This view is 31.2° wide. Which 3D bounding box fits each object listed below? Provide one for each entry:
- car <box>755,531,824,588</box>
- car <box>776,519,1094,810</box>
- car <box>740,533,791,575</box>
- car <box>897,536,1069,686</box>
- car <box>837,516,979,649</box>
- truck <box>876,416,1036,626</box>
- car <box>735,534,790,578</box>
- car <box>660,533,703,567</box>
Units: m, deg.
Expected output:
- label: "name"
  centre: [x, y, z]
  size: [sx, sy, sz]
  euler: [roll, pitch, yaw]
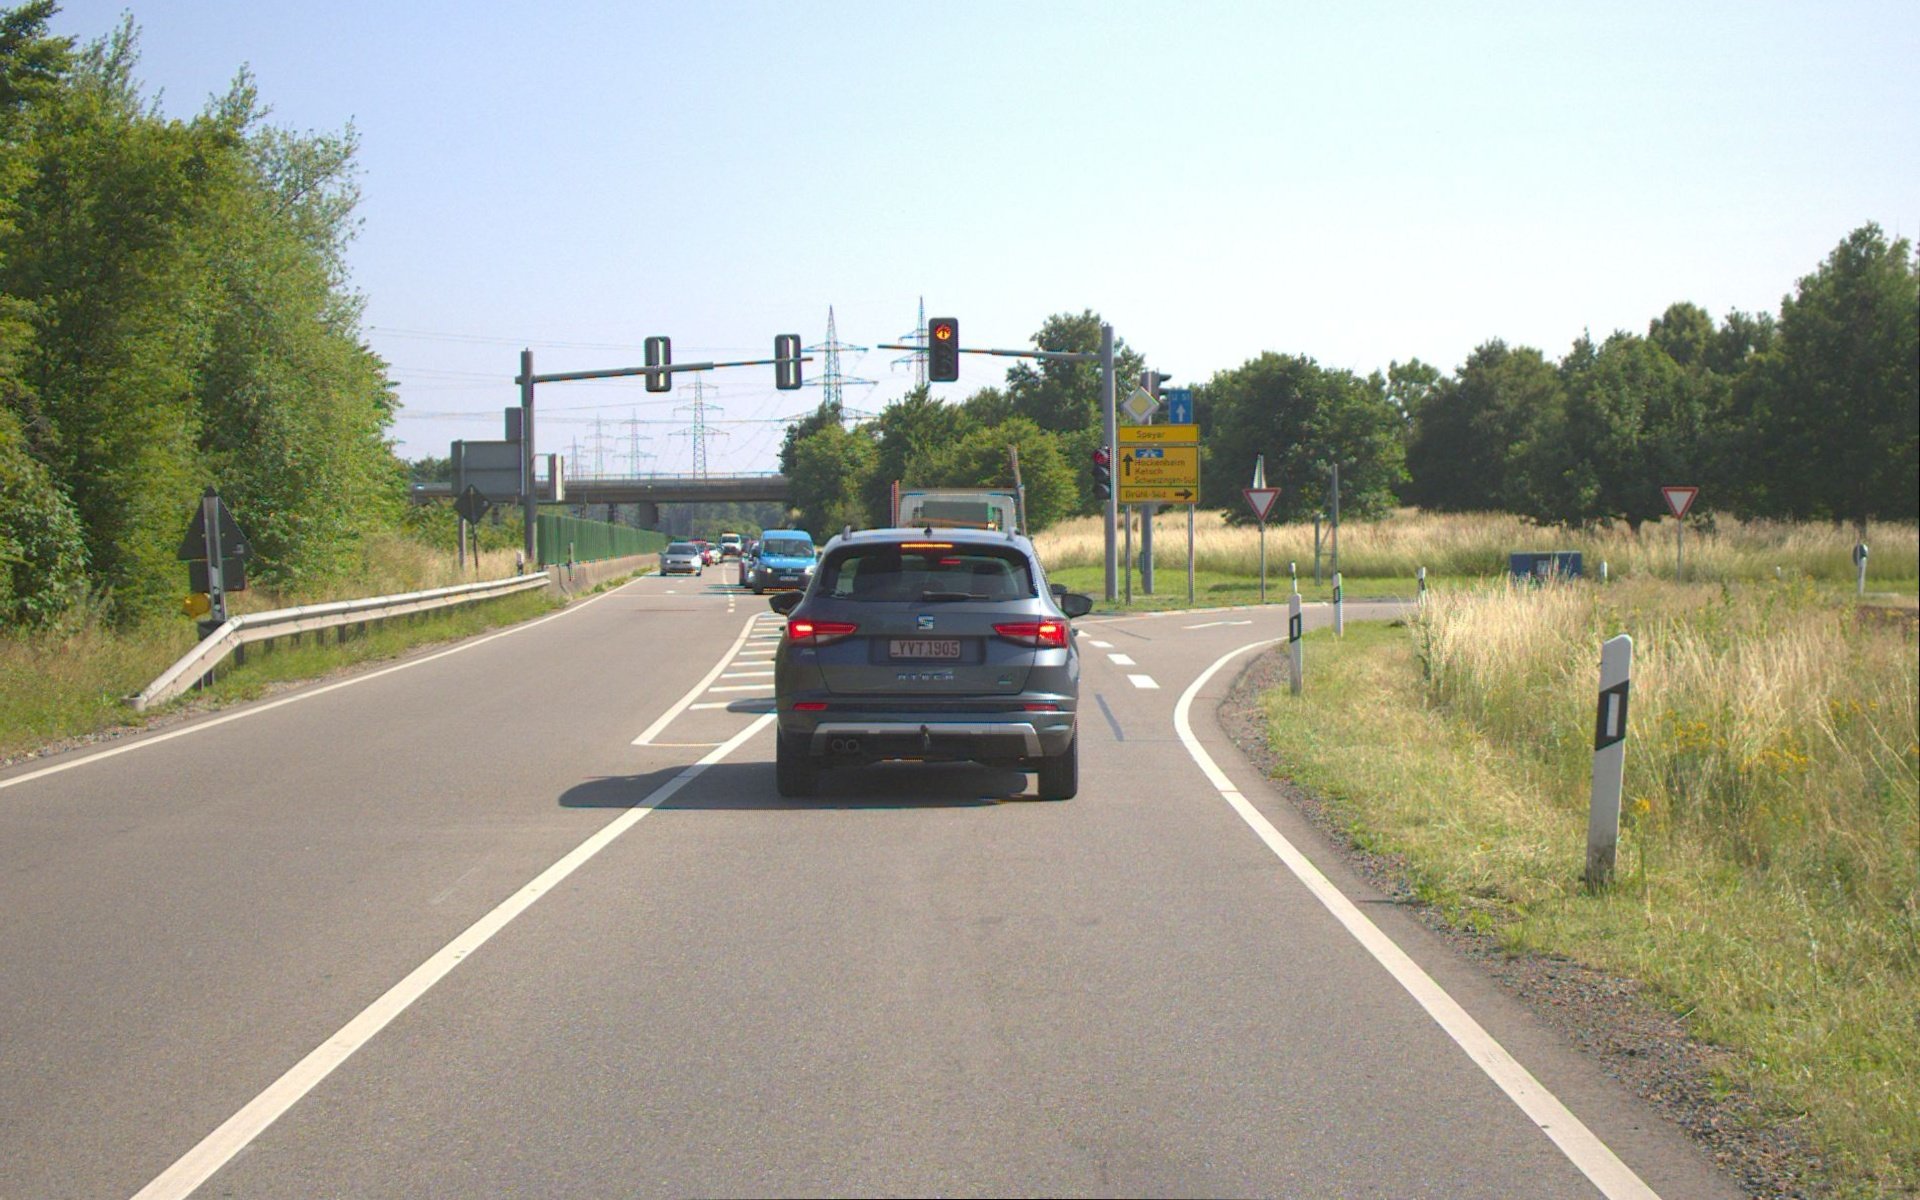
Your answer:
- label: "car"
  centre: [-4.837, -1.170, 97.196]
  size: [1.816, 1.535, 4.001]
  euler: [-1, 1, -5]
- label: "car"
  centre: [-0.181, 0.315, 21.397]
  size: [1.785, 1.623, 4.001]
  euler: [0, 1, -1]
- label: "car"
  centre: [-6.667, -1.578, 117.838]
  size: [1.684, 1.375, 3.534]
  euler: [0, 1, -4]
- label: "car"
  centre: [0.208, 0.080, 38.299]
  size: [1.785, 1.538, 4.001]
  euler: [0, 1, -1]
- label: "car"
  centre: [-0.708, -0.272, 45.517]
  size: [1.785, 1.670, 4.001]
  euler: [0, 1, -1]
- label: "truck"
  centre: [-0.061, -1.187, 53.256]
  size: [2.337, 3.055, 5.810]
  euler: [0, 1, 0]
- label: "car"
  centre: [-6.295, -1.410, 109.437]
  size: [1.684, 1.375, 3.534]
  euler: [0, 1, -4]
- label: "car"
  centre: [-12.192, -2.183, 150.305]
  size: [1.824, 1.426, 4.001]
  euler: [-1, 1, -5]
